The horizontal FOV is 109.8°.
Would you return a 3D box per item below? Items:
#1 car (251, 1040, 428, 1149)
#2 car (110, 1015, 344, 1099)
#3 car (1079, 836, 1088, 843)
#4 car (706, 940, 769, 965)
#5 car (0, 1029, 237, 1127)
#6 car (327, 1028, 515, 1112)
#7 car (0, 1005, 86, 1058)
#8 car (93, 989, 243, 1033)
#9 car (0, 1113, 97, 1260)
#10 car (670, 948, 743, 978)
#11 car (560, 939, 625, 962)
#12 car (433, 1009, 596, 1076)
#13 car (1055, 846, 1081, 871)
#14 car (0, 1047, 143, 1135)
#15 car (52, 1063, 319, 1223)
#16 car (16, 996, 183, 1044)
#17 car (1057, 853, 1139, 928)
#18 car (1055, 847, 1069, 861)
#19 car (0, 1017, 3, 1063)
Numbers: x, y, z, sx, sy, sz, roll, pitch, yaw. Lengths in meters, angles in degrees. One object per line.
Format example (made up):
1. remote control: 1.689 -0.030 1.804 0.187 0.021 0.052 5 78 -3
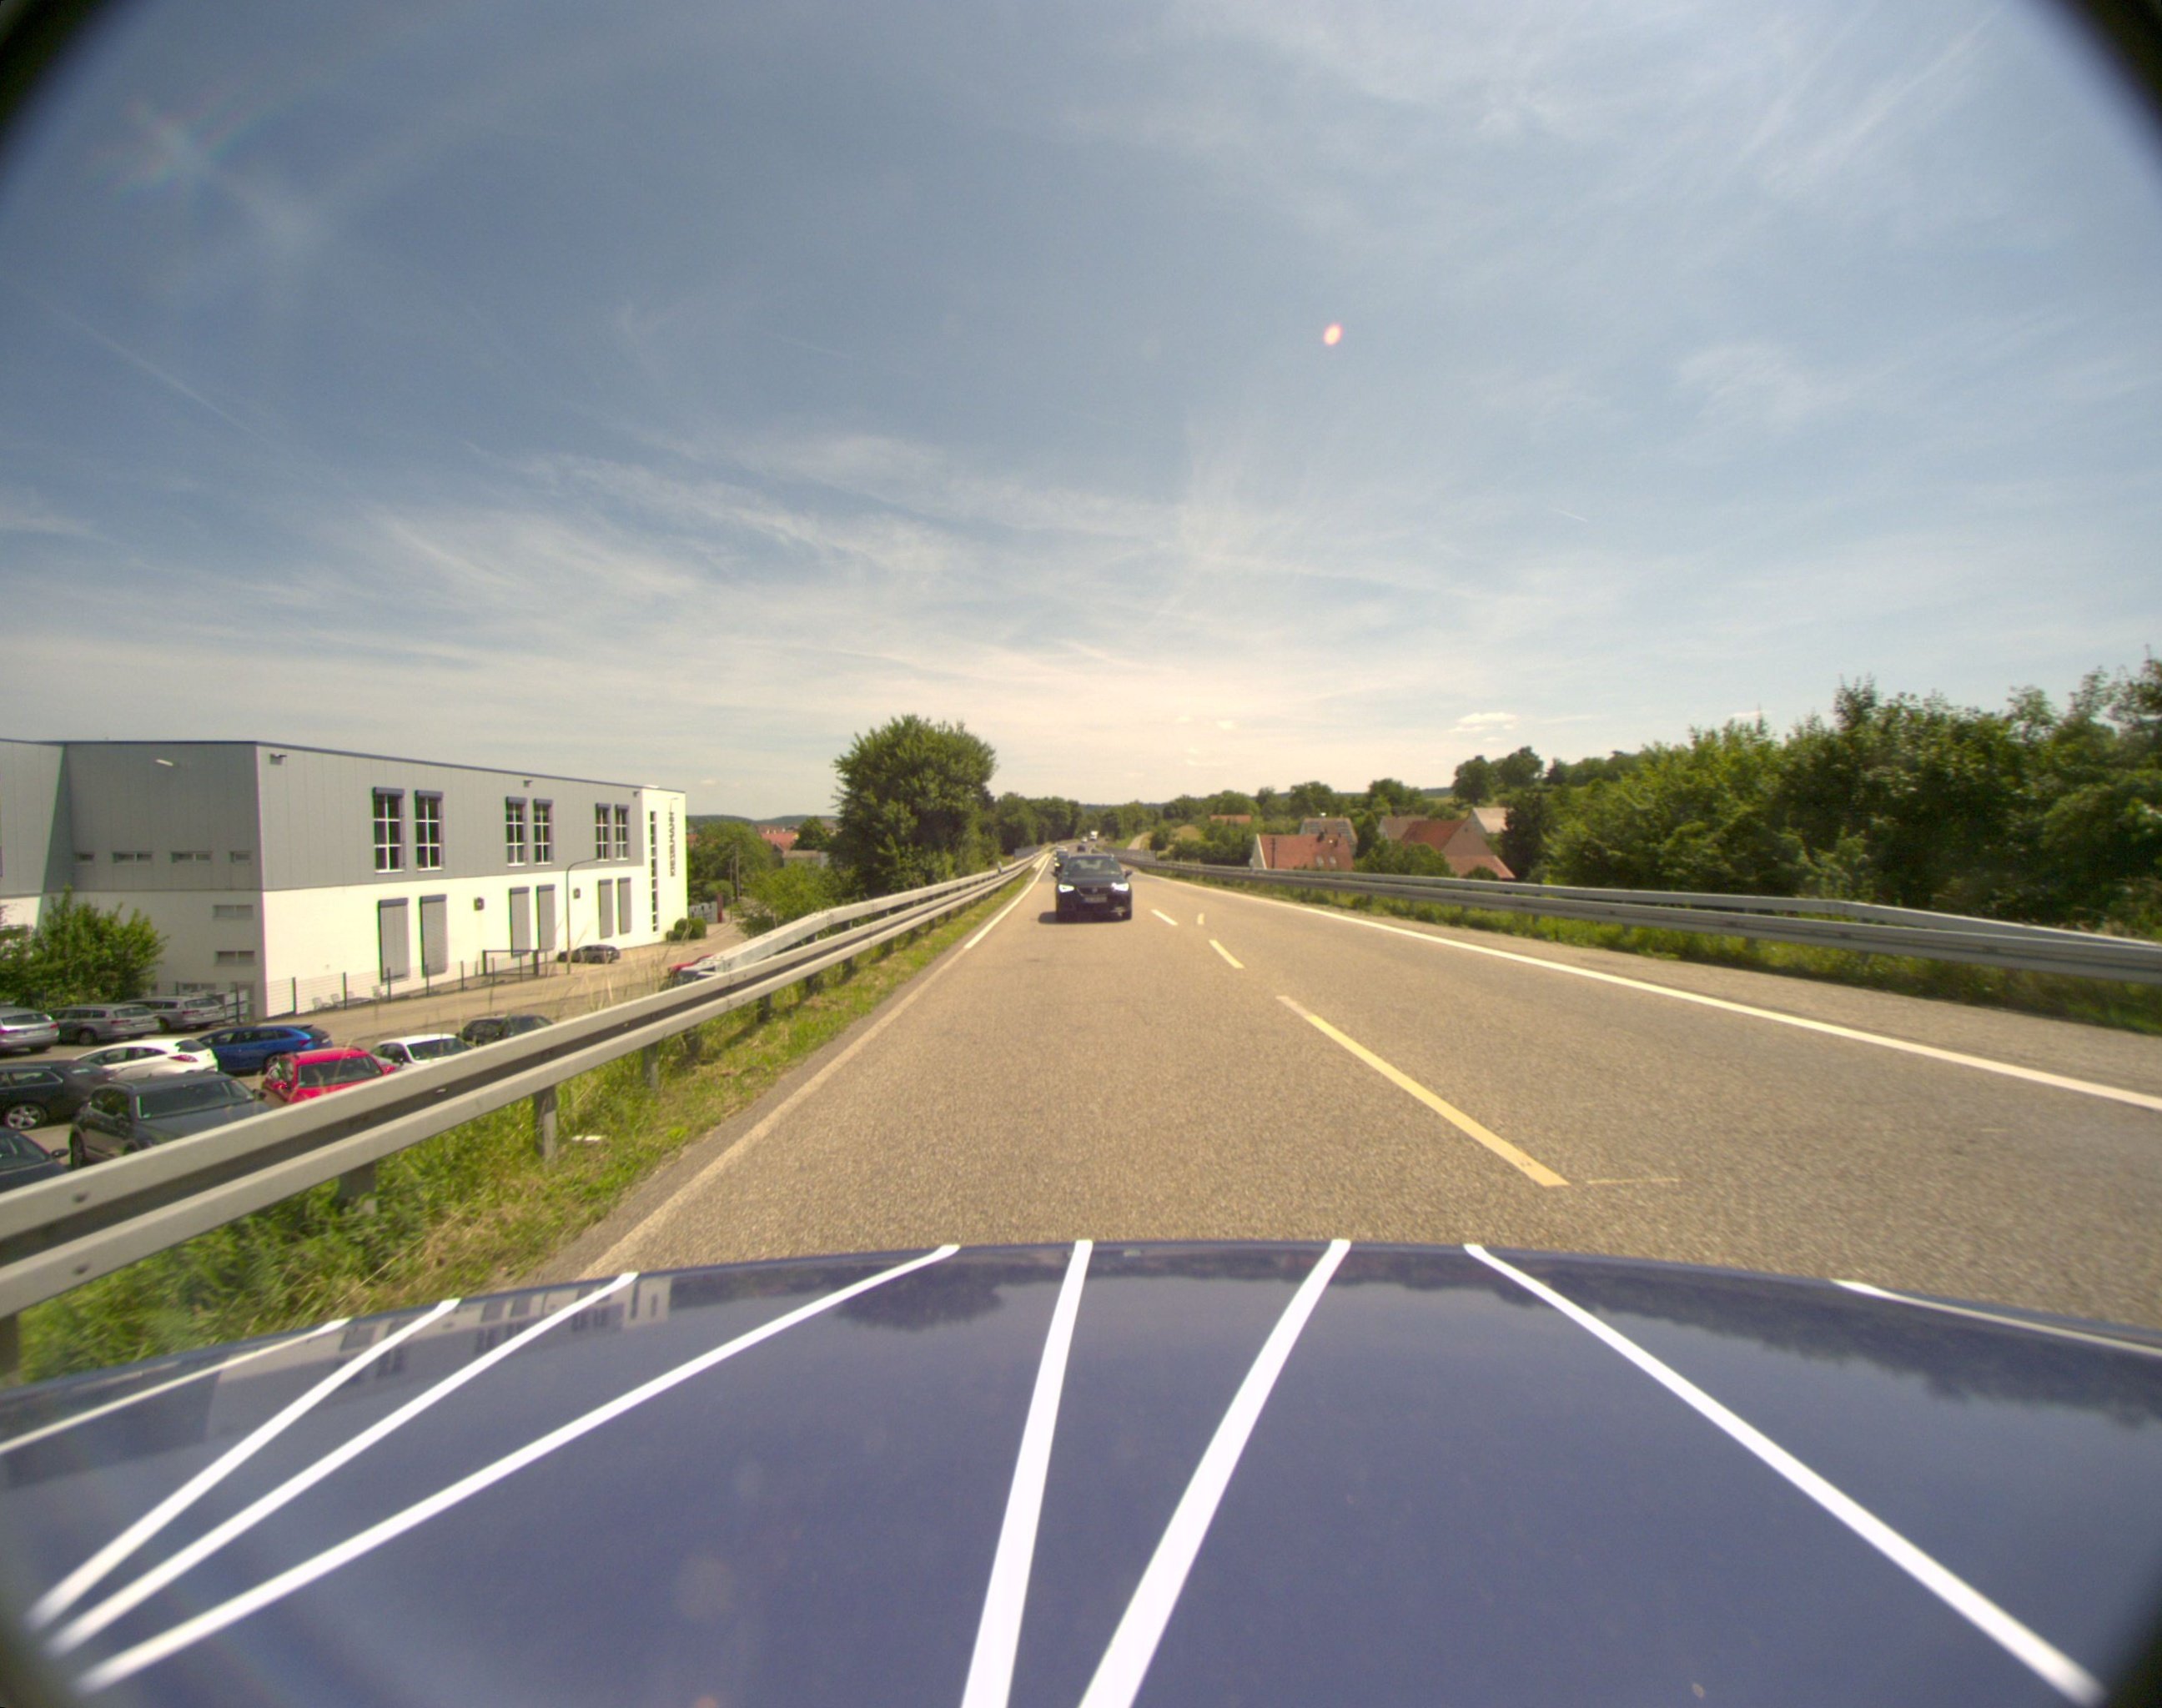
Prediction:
1. car: -16.862 5.301 17.222 4.401 1.549 1.989 -7 -2 34
2. car: -26.148 6.178 23.520 4.417 1.436 1.787 -5 -2 -31
3. car: 0.524 -3.086 162.777 1.870 1.602 4.371 0 1 -2
4. car: -28.013 8.032 62.055 4.417 1.436 1.787 -5 -2 -31
5. car: -26.531 6.069 20.642 4.417 1.594 1.787 -5 -2 -31
6. car: -17.714 5.758 20.401 4.402 1.652 1.902 -7 -2 21
7. car: -39.865 6.475 27.847 4.048 1.562 1.912 0 -2 -2
8. car: -39.624 6.803 33.055 4.048 1.562 1.912 0 -2 -2
9. car: -17.150 5.073 11.392 4.716 1.554 1.964 -7 -2 26
10. car: -26.563 7.667 53.918 4.417 1.436 1.787 -5 -2 -31
11. car: -40.795 8.043 63.482 4.048 1.562 1.912 3 -2 -2
12. car: -17.144 5.712 22.983 4.402 1.533 1.793 -7 -2 21
13. car: -0.982 0.393 57.434 1.879 1.637 4.002 1 -3 -1
14. car: -25.696 5.703 17.736 4.418 1.530 1.787 -1 -4 -31
15. car: -16.948 5.255 14.358 4.716 2.001 2.083 -7 -2 26
16. car: -39.393 6.649 30.598 4.048 1.562 1.912 0 -2 -2
17. car: 0.310 0.789 18.351 1.738 1.468 3.998 1 2 -2
18. car: -2.559 0.038 102.809 1.879 1.637 4.002 1 -3 -1
19. car: -39.513 6.372 25.225 4.584 1.562 1.821 0 -2 -2
